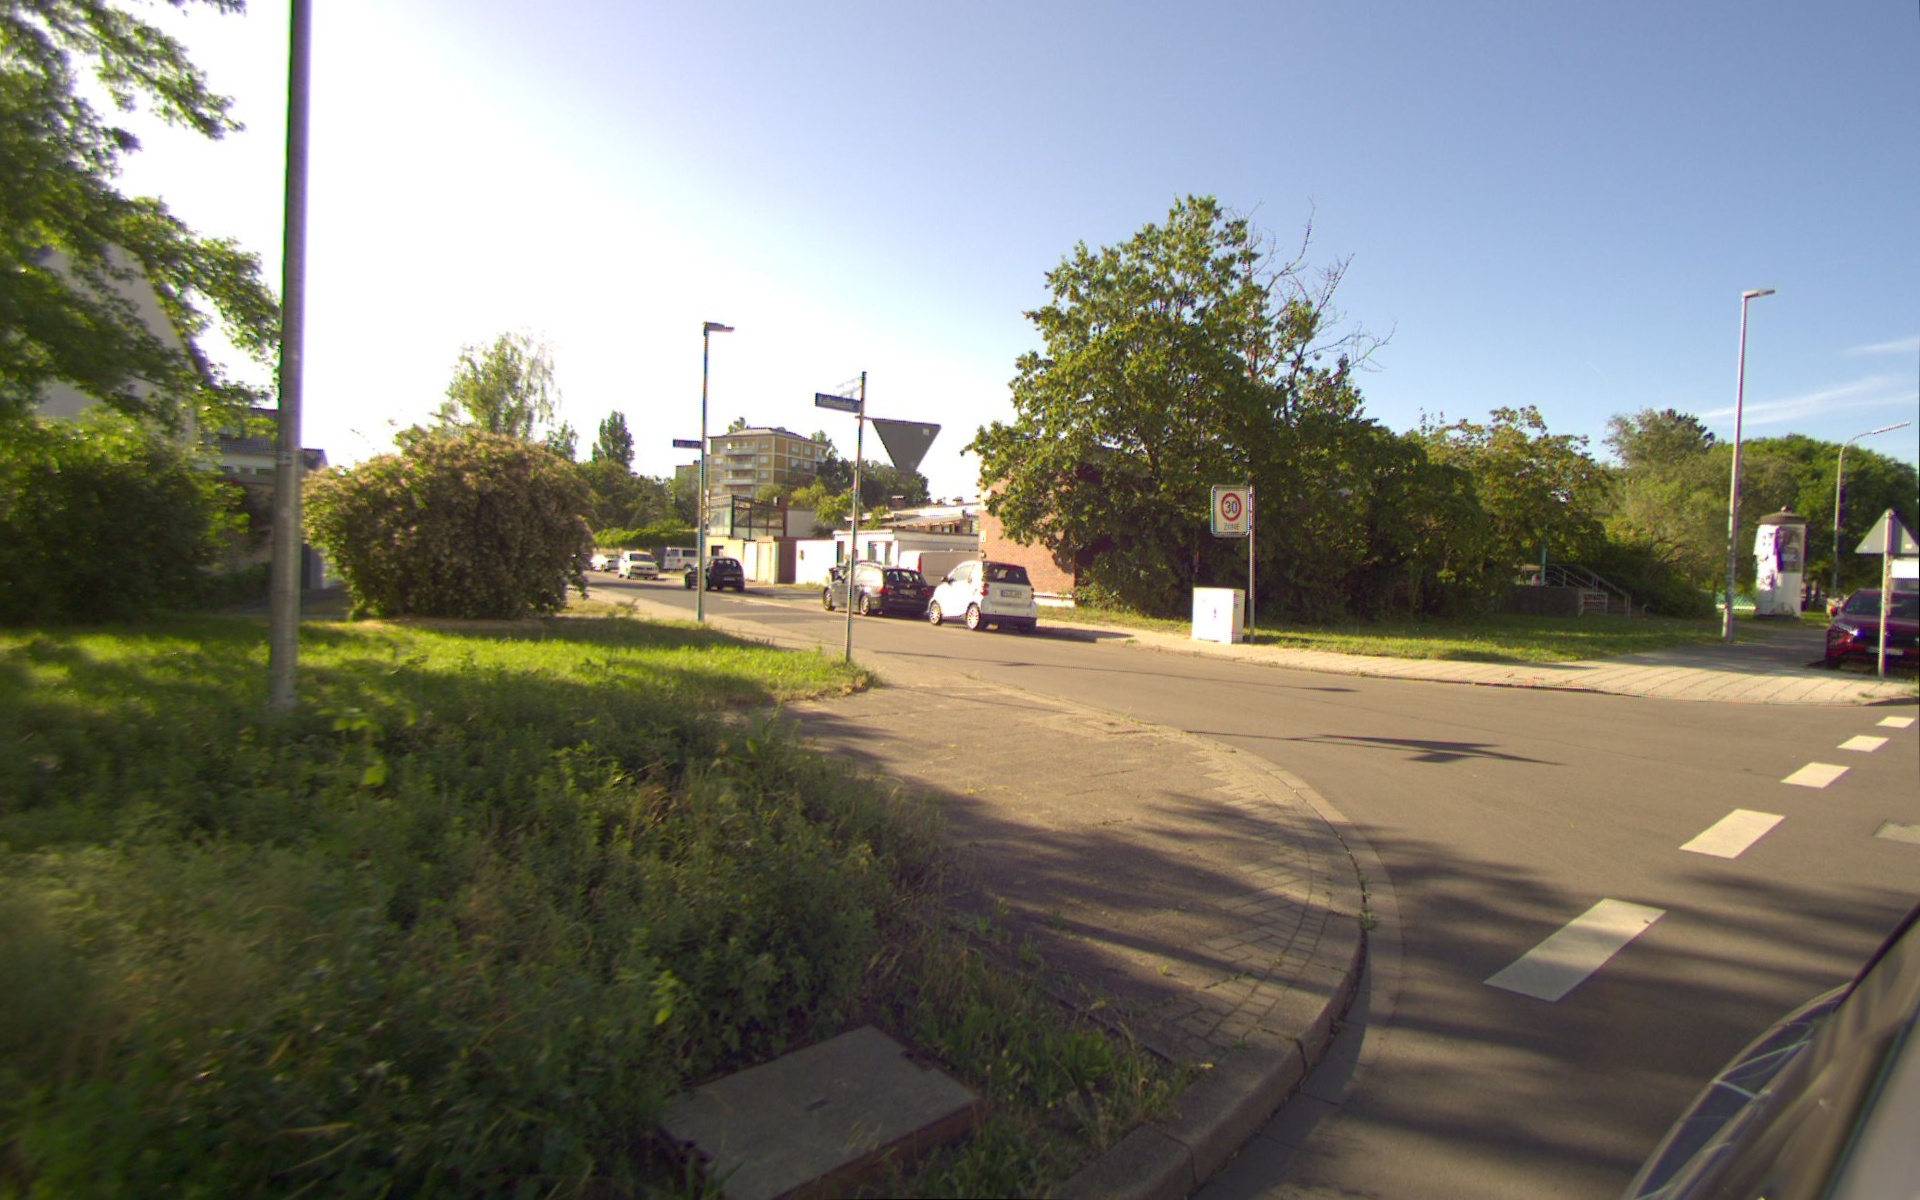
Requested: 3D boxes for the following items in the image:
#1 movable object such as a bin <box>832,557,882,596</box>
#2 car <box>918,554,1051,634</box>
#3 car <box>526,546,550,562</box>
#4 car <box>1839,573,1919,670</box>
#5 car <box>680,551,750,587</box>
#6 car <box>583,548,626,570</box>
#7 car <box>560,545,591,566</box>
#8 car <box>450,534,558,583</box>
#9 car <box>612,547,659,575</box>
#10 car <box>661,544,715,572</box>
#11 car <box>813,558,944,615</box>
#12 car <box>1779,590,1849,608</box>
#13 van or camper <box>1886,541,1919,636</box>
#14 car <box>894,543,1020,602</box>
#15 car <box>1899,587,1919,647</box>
[{"bbox_3d":[-4.037,-0.934,39.398,1.215,1.390,2.575,1,2,-23],"label":"movable object such as a bin"},{"bbox_3d":[0.503,-0.167,23.152,1.666,1.583,2.968,4,0,-30],"label":"car"},{"bbox_3d":[-45.237,-4.935,108.402,1.818,1.579,4.252,1,2,-30],"label":"car"},{"bbox_3d":[19.248,0.406,20.515,1.777,1.699,4.570,7,5,44],"label":"car"},{"bbox_3d":[-10.616,-1.349,43.628,1.818,1.428,4.252,1,2,-30],"label":"car"},{"bbox_3d":[-27.711,-3.228,78.904,1.822,1.579,4.243,0,3,-39],"label":"car"},{"bbox_3d":[-31.509,-3.659,82.855,1.817,1.579,4.254,1,2,-27],"label":"car"},{"bbox_3d":[-17.340,-1.584,38.646,3.517,1.507,1.677,5,1,-20],"label":"car"},{"bbox_3d":[-19.248,-2.328,59.939,1.818,1.579,4.252,1,2,-30],"label":"car"},{"bbox_3d":[-21.622,-3.351,80.637,1.686,2.114,3.994,3,2,34],"label":"car"},{"bbox_3d":[-2.395,-0.425,28.419,1.929,1.428,4.505,1,2,-30],"label":"car"},{"bbox_3d":[73.120,-0.113,86.695,1.717,1.354,4.429,2,1,-44],"label":"car"},{"bbox_3d":[32.025,-0.329,32.856,2.499,2.880,6.740,4,3,45],"label":"van or camper"},{"bbox_3d":[-0.095,-0.928,34.743,3.919,1.892,1.702,1,2,-28],"label":"car"},{"bbox_3d":[25.991,0.455,26.560,3.933,1.492,1.693,0,3,-44],"label":"car"}]
